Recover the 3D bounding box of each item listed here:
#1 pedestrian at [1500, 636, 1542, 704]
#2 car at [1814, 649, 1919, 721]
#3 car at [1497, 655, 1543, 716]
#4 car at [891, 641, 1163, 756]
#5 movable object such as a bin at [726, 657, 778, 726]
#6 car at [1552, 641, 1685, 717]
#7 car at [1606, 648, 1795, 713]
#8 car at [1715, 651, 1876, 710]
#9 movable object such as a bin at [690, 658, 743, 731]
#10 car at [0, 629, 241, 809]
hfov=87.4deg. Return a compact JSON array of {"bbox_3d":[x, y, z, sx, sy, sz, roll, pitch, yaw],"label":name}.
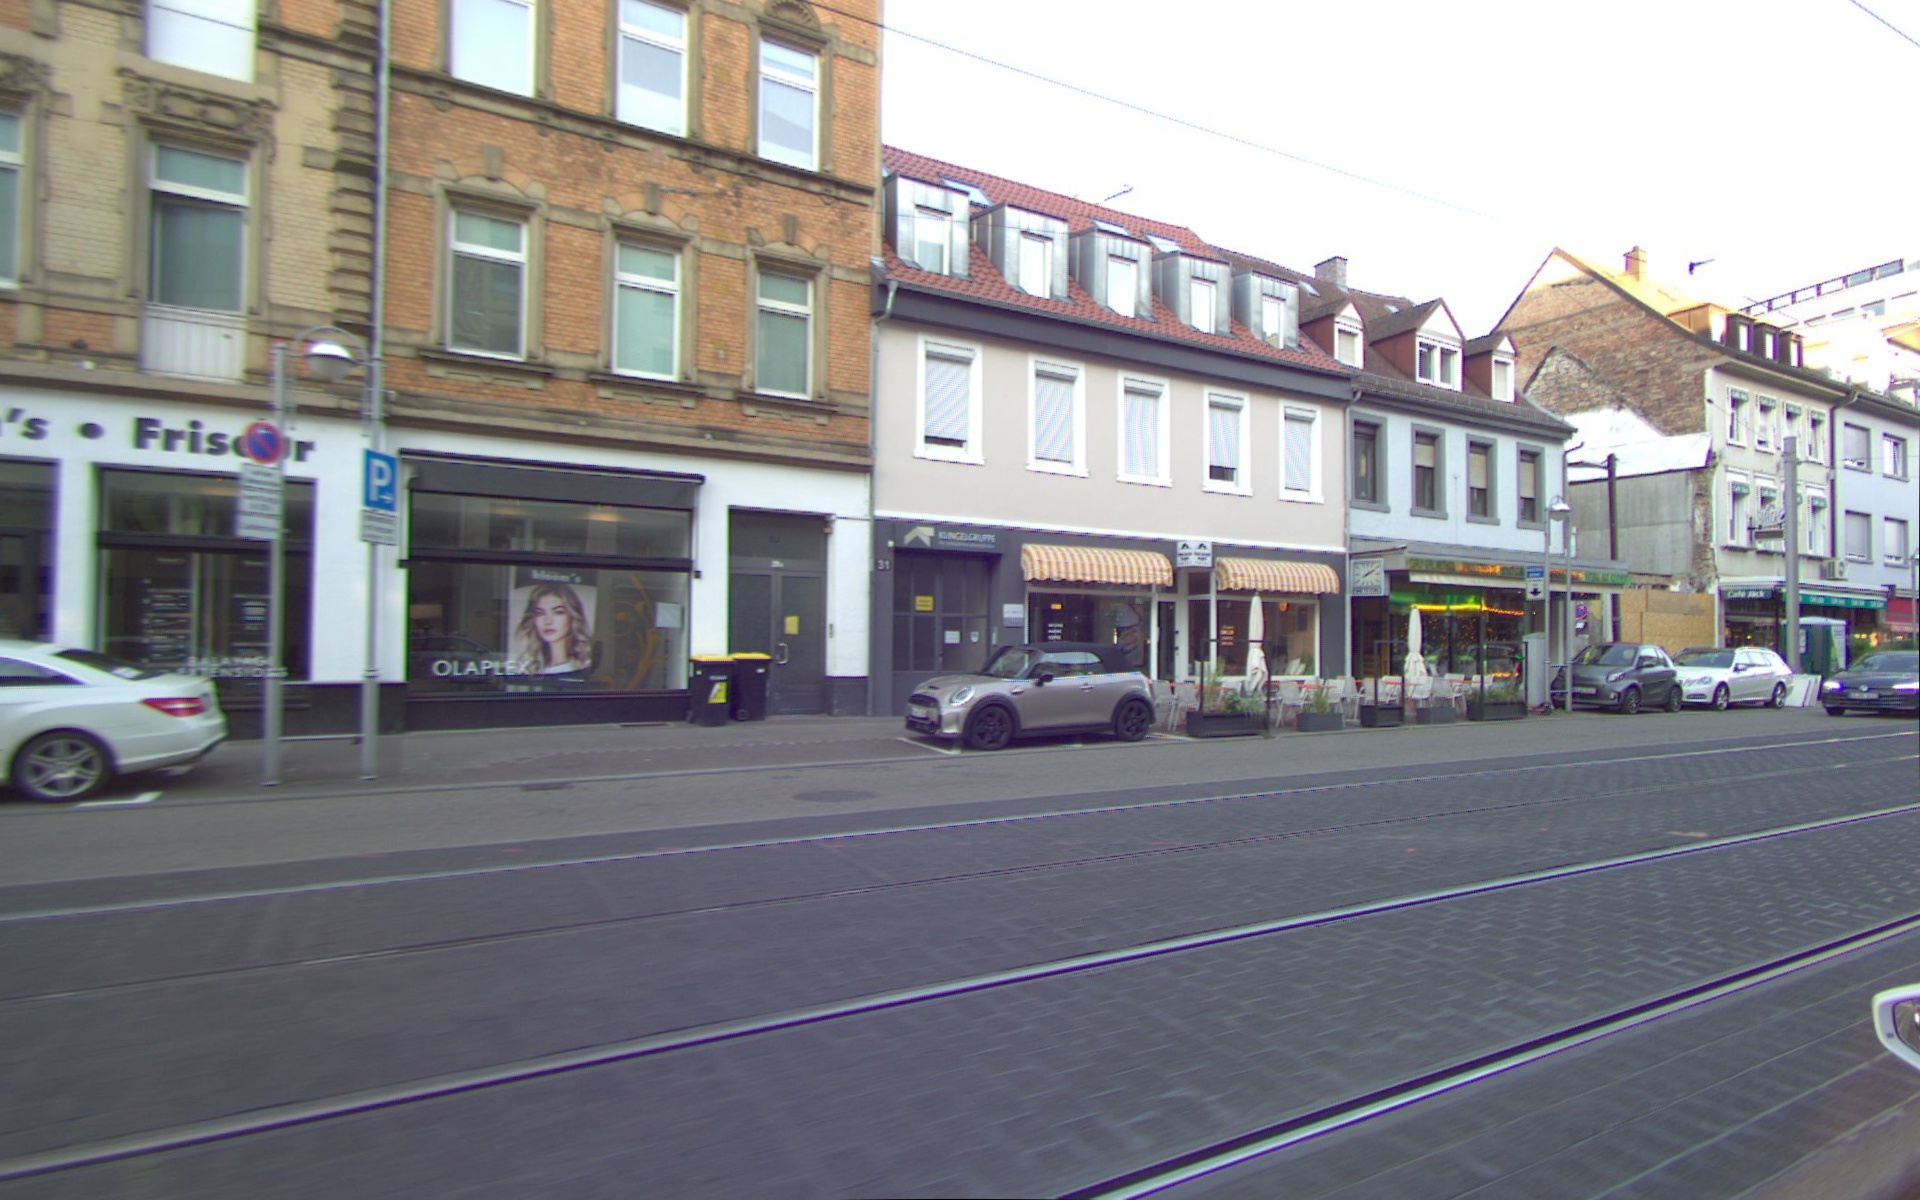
[{"bbox_3d":[14.083,1.751,25.218,0.686,1.665,0.660,2,-2,-29],"label":"pedestrian"},{"bbox_3d":[21.221,1.859,22.535,4.411,1.472,1.685,2,-4,-29],"label":"car"},{"bbox_3d":[11.890,1.805,21.343,0.336,1.251,0.779,2,-3,-31],"label":"car"},{"bbox_3d":[1.020,1.377,14.896,3.766,1.459,1.591,2,0,-29],"label":"car"},{"bbox_3d":[-3.344,1.459,16.137,0.686,1.047,0.492,2,0,-30],"label":"movable object such as a bin"},{"bbox_3d":[14.842,1.738,22.637,2.763,1.598,1.469,2,-3,-32],"label":"car"},{"bbox_3d":[18.439,1.953,24.987,4.763,1.472,1.985,2,-2,-29],"label":"car"},{"bbox_3d":[22.929,2.161,27.542,4.277,1.472,1.985,2,-2,-29],"label":"car"},{"bbox_3d":[-3.728,1.435,15.387,0.652,1.057,0.515,2,0,-30],"label":"movable object such as a bin"},{"bbox_3d":[-9.365,1.025,9.030,4.561,1.472,1.858,2,0,-33],"label":"car"}]
